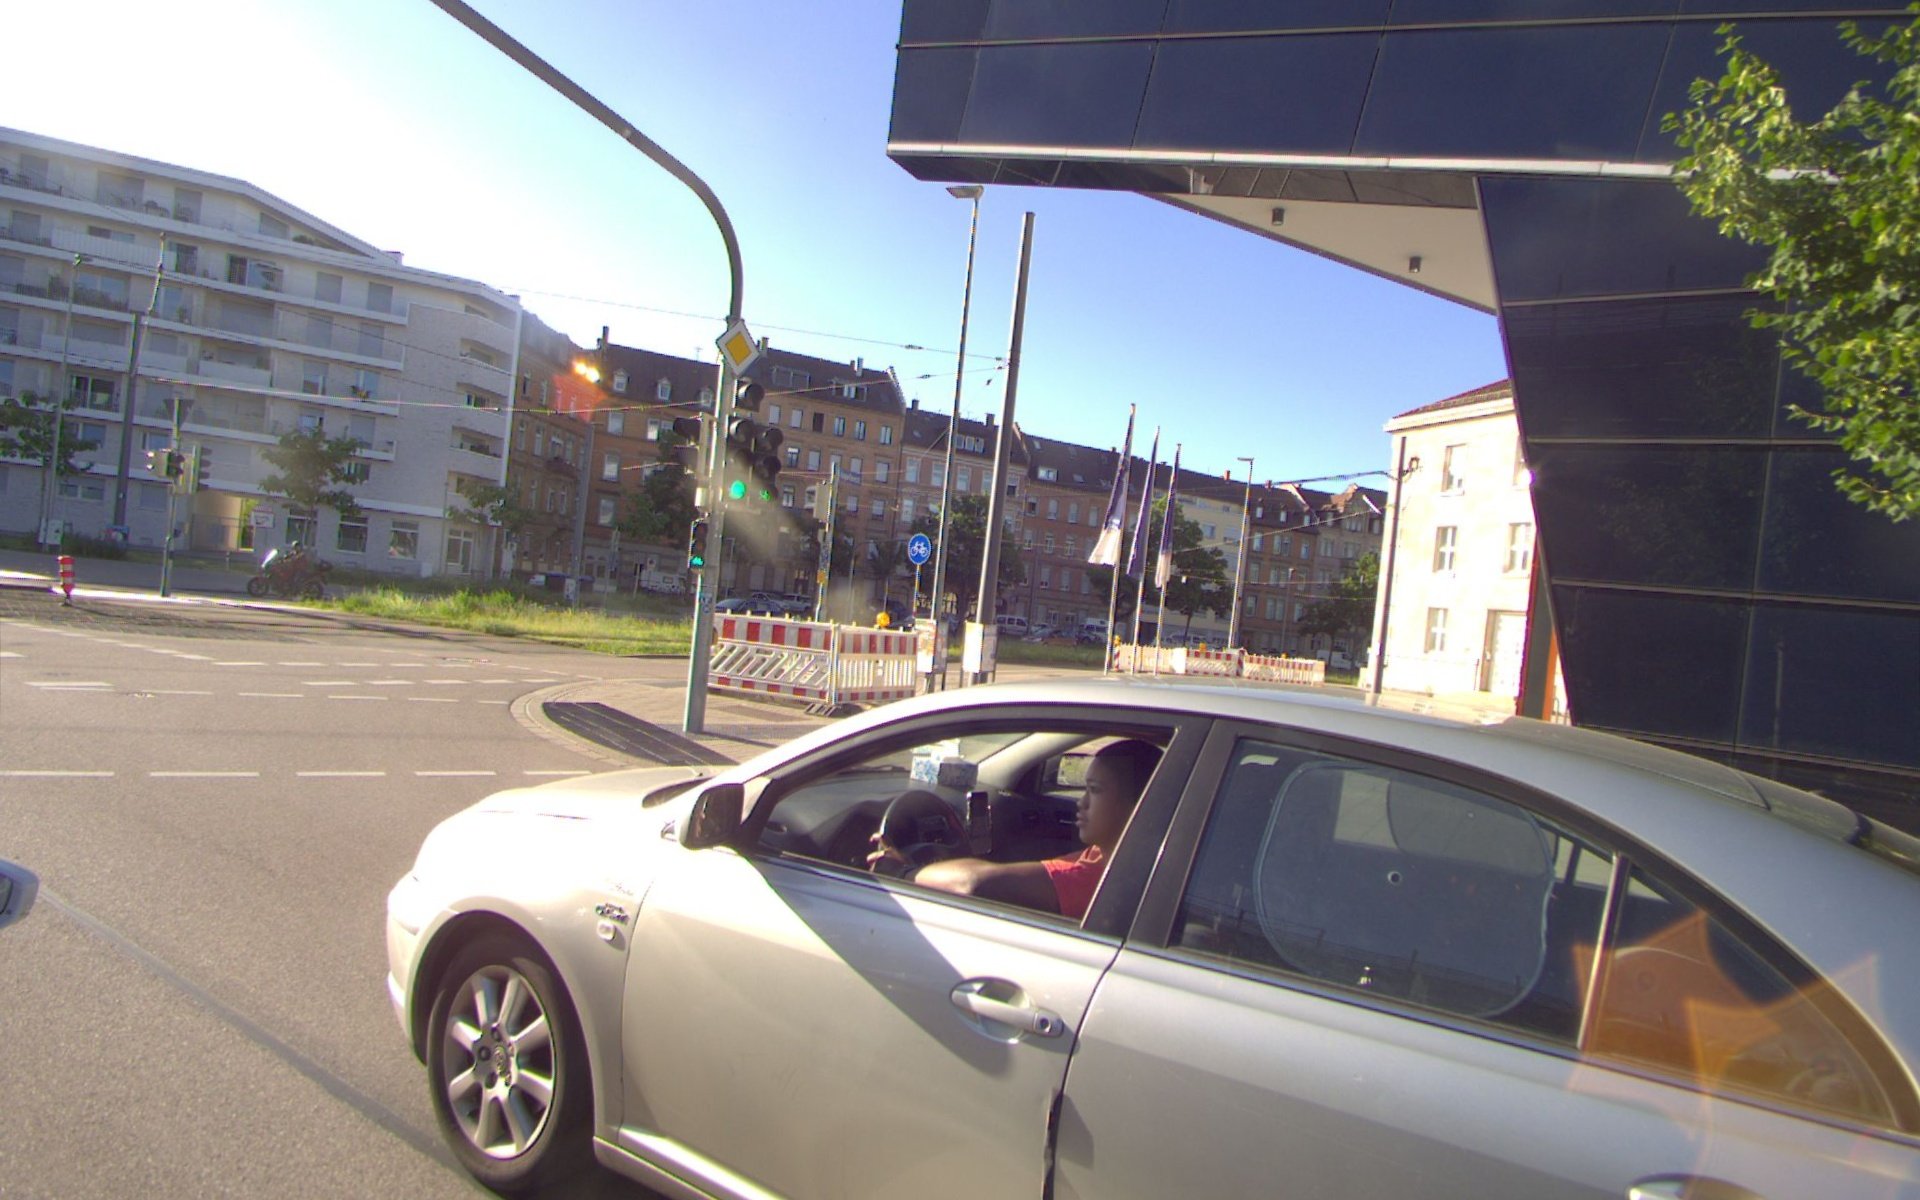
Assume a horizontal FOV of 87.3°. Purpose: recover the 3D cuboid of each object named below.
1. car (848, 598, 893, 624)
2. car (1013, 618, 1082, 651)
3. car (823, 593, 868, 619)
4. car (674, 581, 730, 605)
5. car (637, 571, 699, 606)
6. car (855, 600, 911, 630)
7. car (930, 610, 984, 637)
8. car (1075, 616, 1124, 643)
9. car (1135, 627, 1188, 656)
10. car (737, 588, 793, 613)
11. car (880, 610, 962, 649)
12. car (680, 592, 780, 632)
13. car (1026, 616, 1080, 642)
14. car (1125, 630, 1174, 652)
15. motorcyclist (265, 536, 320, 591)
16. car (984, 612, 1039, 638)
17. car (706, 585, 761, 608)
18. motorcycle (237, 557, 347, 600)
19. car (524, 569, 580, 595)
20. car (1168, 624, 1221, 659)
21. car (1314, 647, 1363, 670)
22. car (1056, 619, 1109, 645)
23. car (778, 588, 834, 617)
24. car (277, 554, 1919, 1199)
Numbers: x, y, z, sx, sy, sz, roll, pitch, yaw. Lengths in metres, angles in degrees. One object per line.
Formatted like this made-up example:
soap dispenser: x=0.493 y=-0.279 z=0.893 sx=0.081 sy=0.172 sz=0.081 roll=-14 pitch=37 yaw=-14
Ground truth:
car: x=-7.308 y=0.891 z=81.812 sx=1.978 sy=1.794 sz=3.968 roll=5 pitch=0 yaw=-32
car: x=5.481 y=2.174 z=62.816 sx=4.071 sy=1.637 sz=1.977 roll=7 pitch=-1 yaw=-42
car: x=-9.234 y=0.489 z=80.858 sx=1.978 sy=1.794 sz=3.968 roll=5 pitch=0 yaw=-31
car: x=-18.660 y=-0.521 z=72.657 sx=3.945 sy=1.371 sz=1.990 roll=5 pitch=0 yaw=41
car: x=-23.435 y=-0.916 z=80.699 sx=4.537 sy=2.339 sz=1.991 roll=6 pitch=0 yaw=-20
car: x=-6.738 y=1.292 z=88.429 sx=4.355 sy=2.217 sz=1.988 roll=5 pitch=0 yaw=-25
car: x=-0.243 y=1.933 z=81.781 sx=3.944 sy=1.799 sz=1.990 roll=5 pitch=0 yaw=41
car: x=13.480 y=2.813 z=97.347 sx=4.121 sy=2.217 sz=1.995 roll=5 pitch=0 yaw=-14
car: x=17.884 y=3.675 z=89.368 sx=3.940 sy=1.795 sz=1.991 roll=11 pitch=4 yaw=39
car: x=-14.620 y=0.017 z=75.319 sx=3.945 sy=1.504 sz=1.990 roll=5 pitch=0 yaw=41
car: x=-2.028 y=1.602 z=53.785 sx=1.969 sy=1.637 sz=4.529 roll=6 pitch=-1 yaw=35
car: x=-9.804 y=0.534 z=43.179 sx=1.740 sy=1.417 sz=4.249 roll=2 pitch=-3 yaw=29
car: x=7.782 y=2.422 z=84.665 sx=3.934 sy=1.794 sz=1.995 roll=5 pitch=0 yaw=31
car: x=18.738 y=4.047 z=99.511 sx=4.352 sy=1.743 sz=1.990 roll=5 pitch=0 yaw=-23
motorcyclist: x=-20.103 y=-1.110 z=30.314 sx=1.153 sy=1.500 sz=0.925 roll=6 pitch=0 yaw=36
car: x=4.223 y=2.047 z=82.965 sx=3.934 sy=1.794 sz=1.995 roll=5 pitch=0 yaw=31
car: x=-16.705 y=-0.275 z=74.082 sx=3.945 sy=1.371 sz=1.990 roll=5 pitch=0 yaw=41
motorcycle: x=-20.129 y=-0.634 z=30.361 sx=1.153 sy=1.013 sz=2.453 roll=6 pitch=-1 yaw=35
car: x=-28.199 y=-1.239 z=69.672 sx=1.962 sy=1.504 sz=4.001 roll=5 pitch=0 yaw=3
car: x=21.250 y=3.785 z=91.282 sx=3.940 sy=2.439 sz=1.991 roll=12 pitch=5 yaw=39
car: x=37.114 y=5.745 z=98.627 sx=3.939 sy=1.794 sz=1.993 roll=5 pitch=0 yaw=36
car: x=10.573 y=2.764 z=86.877 sx=3.934 sy=1.794 sz=1.995 roll=5 pitch=0 yaw=31
car: x=-11.754 y=0.191 z=76.690 sx=3.945 sy=1.794 sz=1.990 roll=5 pitch=0 yaw=41
car: x=0.435 y=0.860 z=2.487 sx=4.552 sy=1.499 sz=1.748 roll=5 pitch=-1 yaw=32
